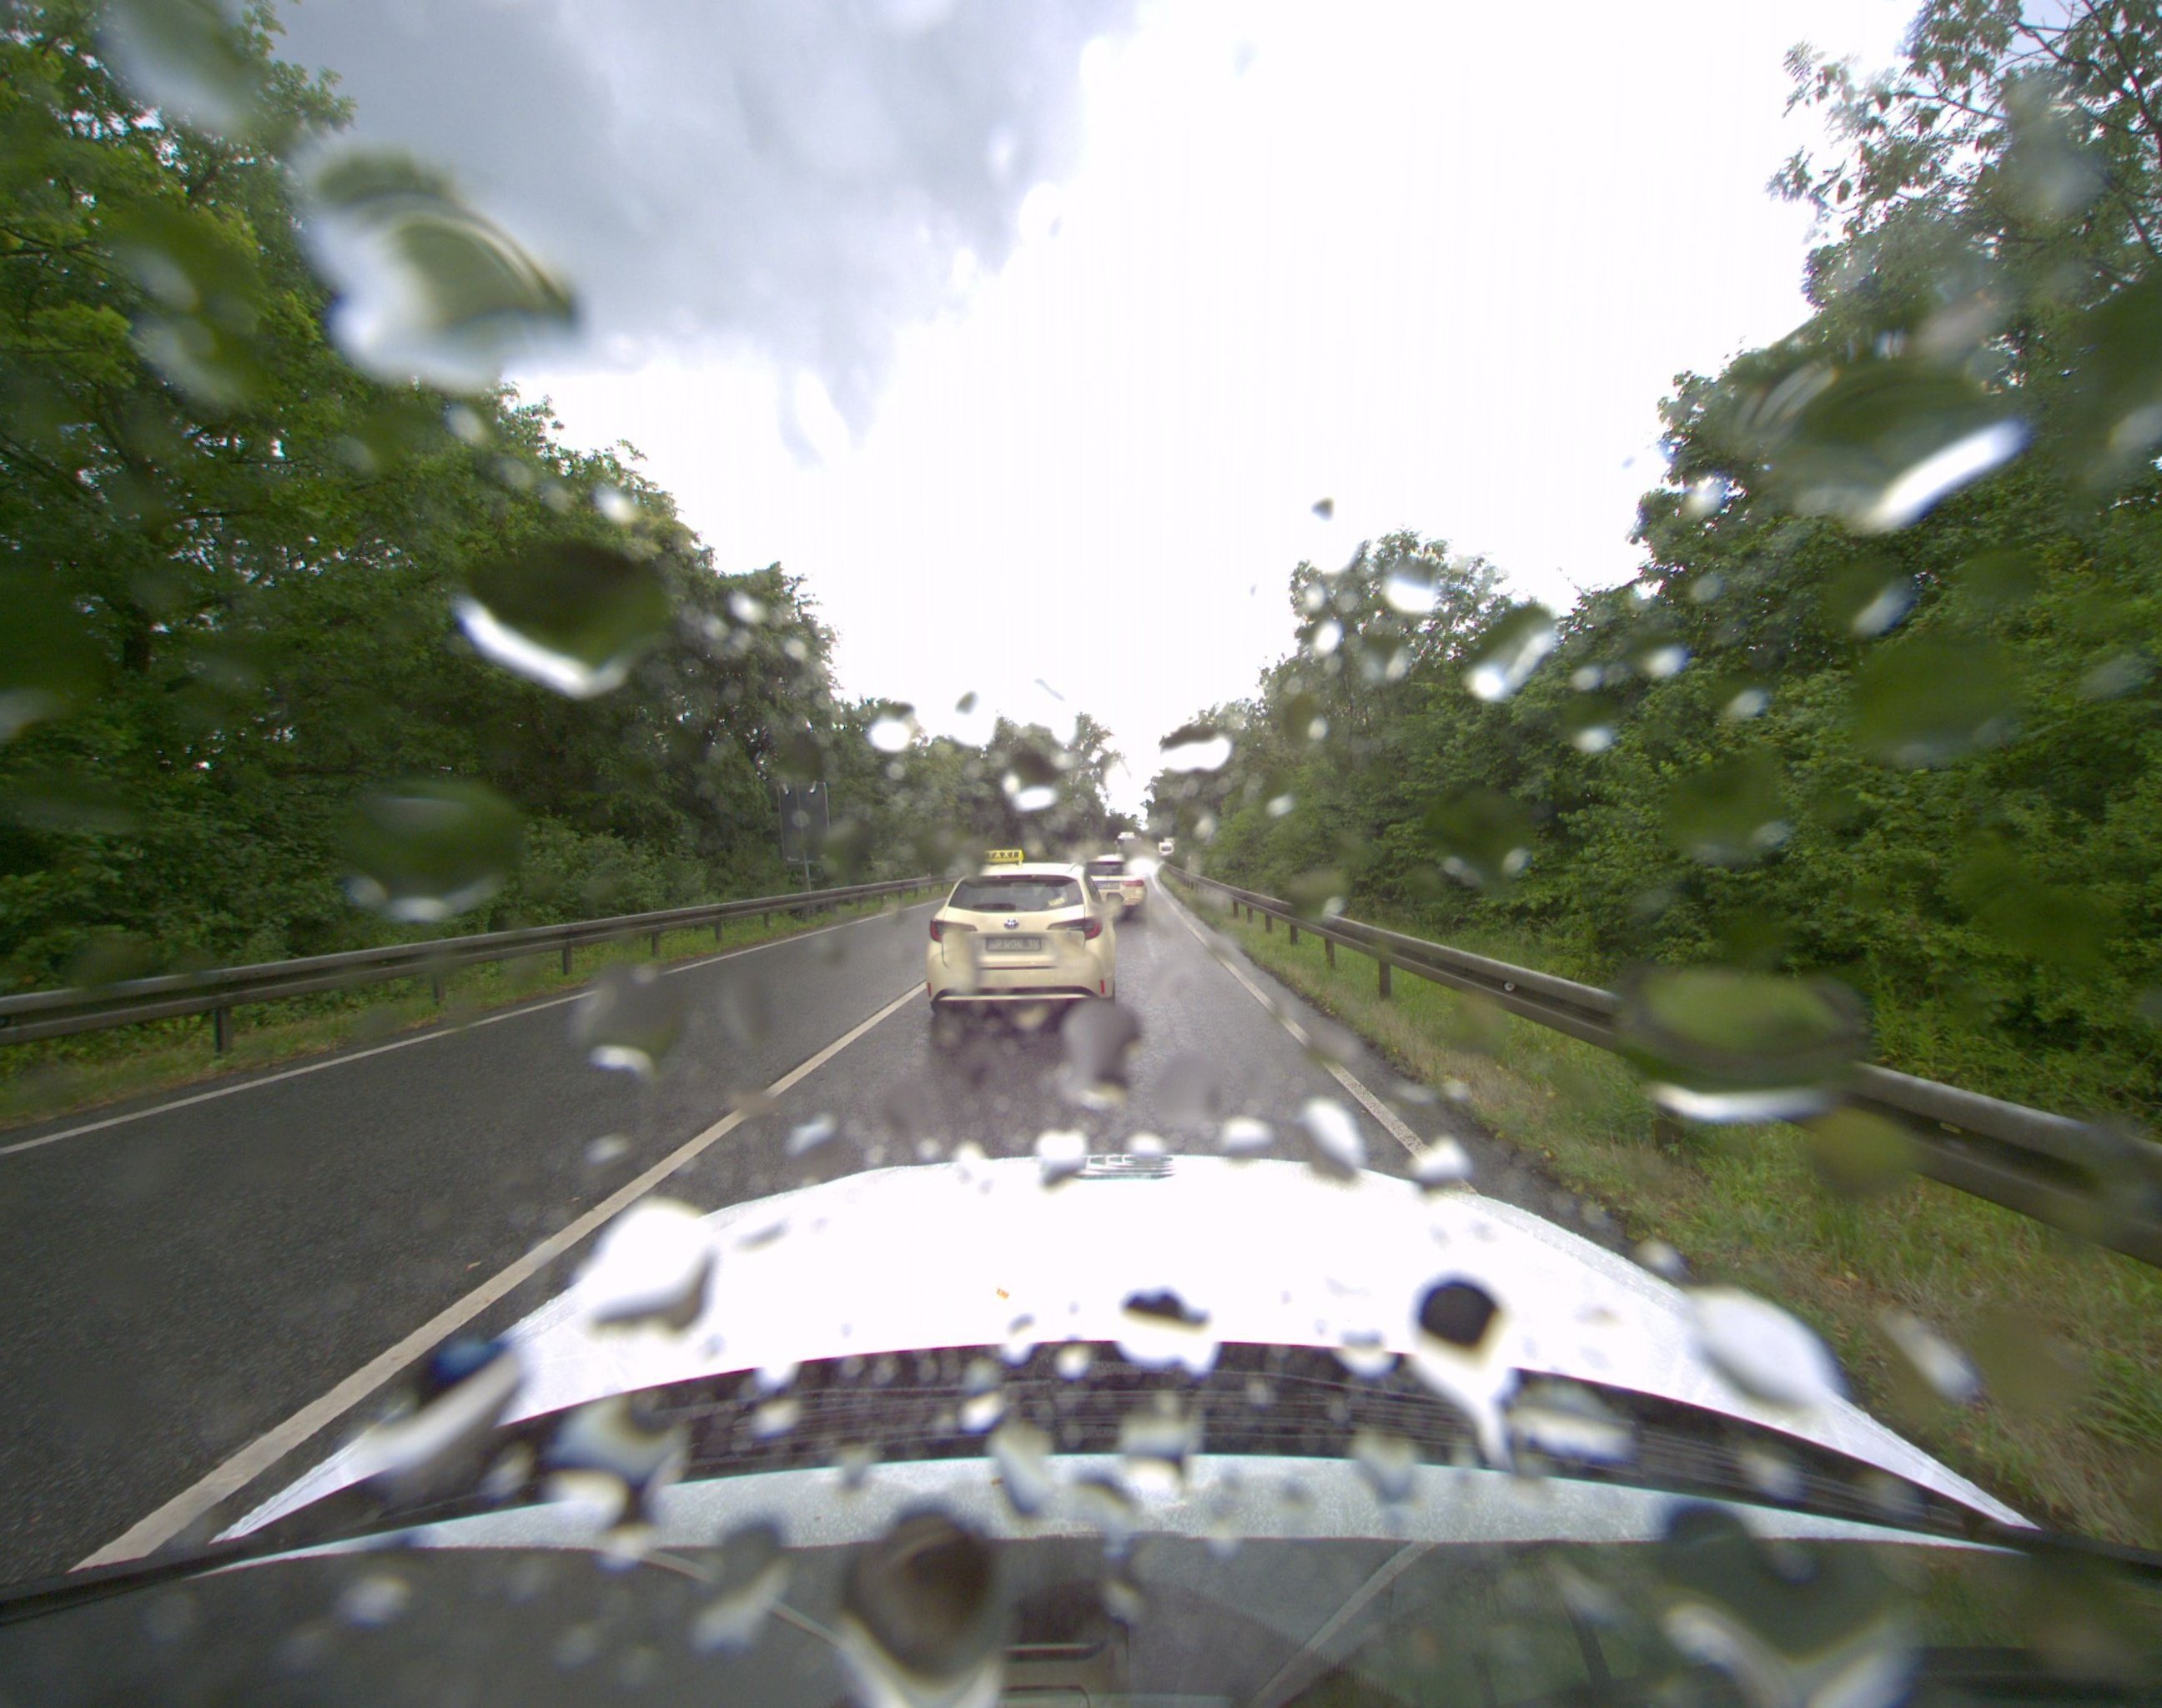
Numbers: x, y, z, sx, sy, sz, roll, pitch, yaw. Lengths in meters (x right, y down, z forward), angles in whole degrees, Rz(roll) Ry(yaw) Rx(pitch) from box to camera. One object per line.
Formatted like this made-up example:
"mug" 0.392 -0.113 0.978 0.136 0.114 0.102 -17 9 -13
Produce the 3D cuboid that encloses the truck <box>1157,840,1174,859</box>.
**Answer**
"truck" 12.752 -0.625 123.394 2.537 2.713 7.546 0 -1 5

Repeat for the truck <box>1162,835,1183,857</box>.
"truck" 15.926 -1.424 141.830 3.087 3.680 7.020 -1 -1 11

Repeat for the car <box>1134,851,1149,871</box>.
"car" 4.947 0.570 66.514 1.161 1.547 2.607 0 -1 5

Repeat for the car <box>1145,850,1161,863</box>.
"car" 8.895 0.279 100.799 1.760 1.547 3.822 0 -1 8

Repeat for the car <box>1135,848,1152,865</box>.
"car" 6.157 0.292 80.357 1.609 1.613 3.625 0 -1 3

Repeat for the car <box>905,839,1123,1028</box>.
"car" -0.505 0.691 8.944 1.827 1.580 4.158 0 -1 2

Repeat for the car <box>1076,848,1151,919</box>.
"car" 0.823 0.680 20.085 1.661 1.580 3.894 0 -1 3

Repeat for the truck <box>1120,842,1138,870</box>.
"truck" 6.745 0.245 114.843 2.526 3.825 5.248 0 -1 2

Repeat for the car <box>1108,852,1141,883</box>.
"car" 2.282 0.668 42.803 1.605 1.547 3.816 -1 0 3

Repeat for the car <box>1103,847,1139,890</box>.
"car" 1.540 0.544 30.912 1.295 1.547 3.262 0 -1 3
